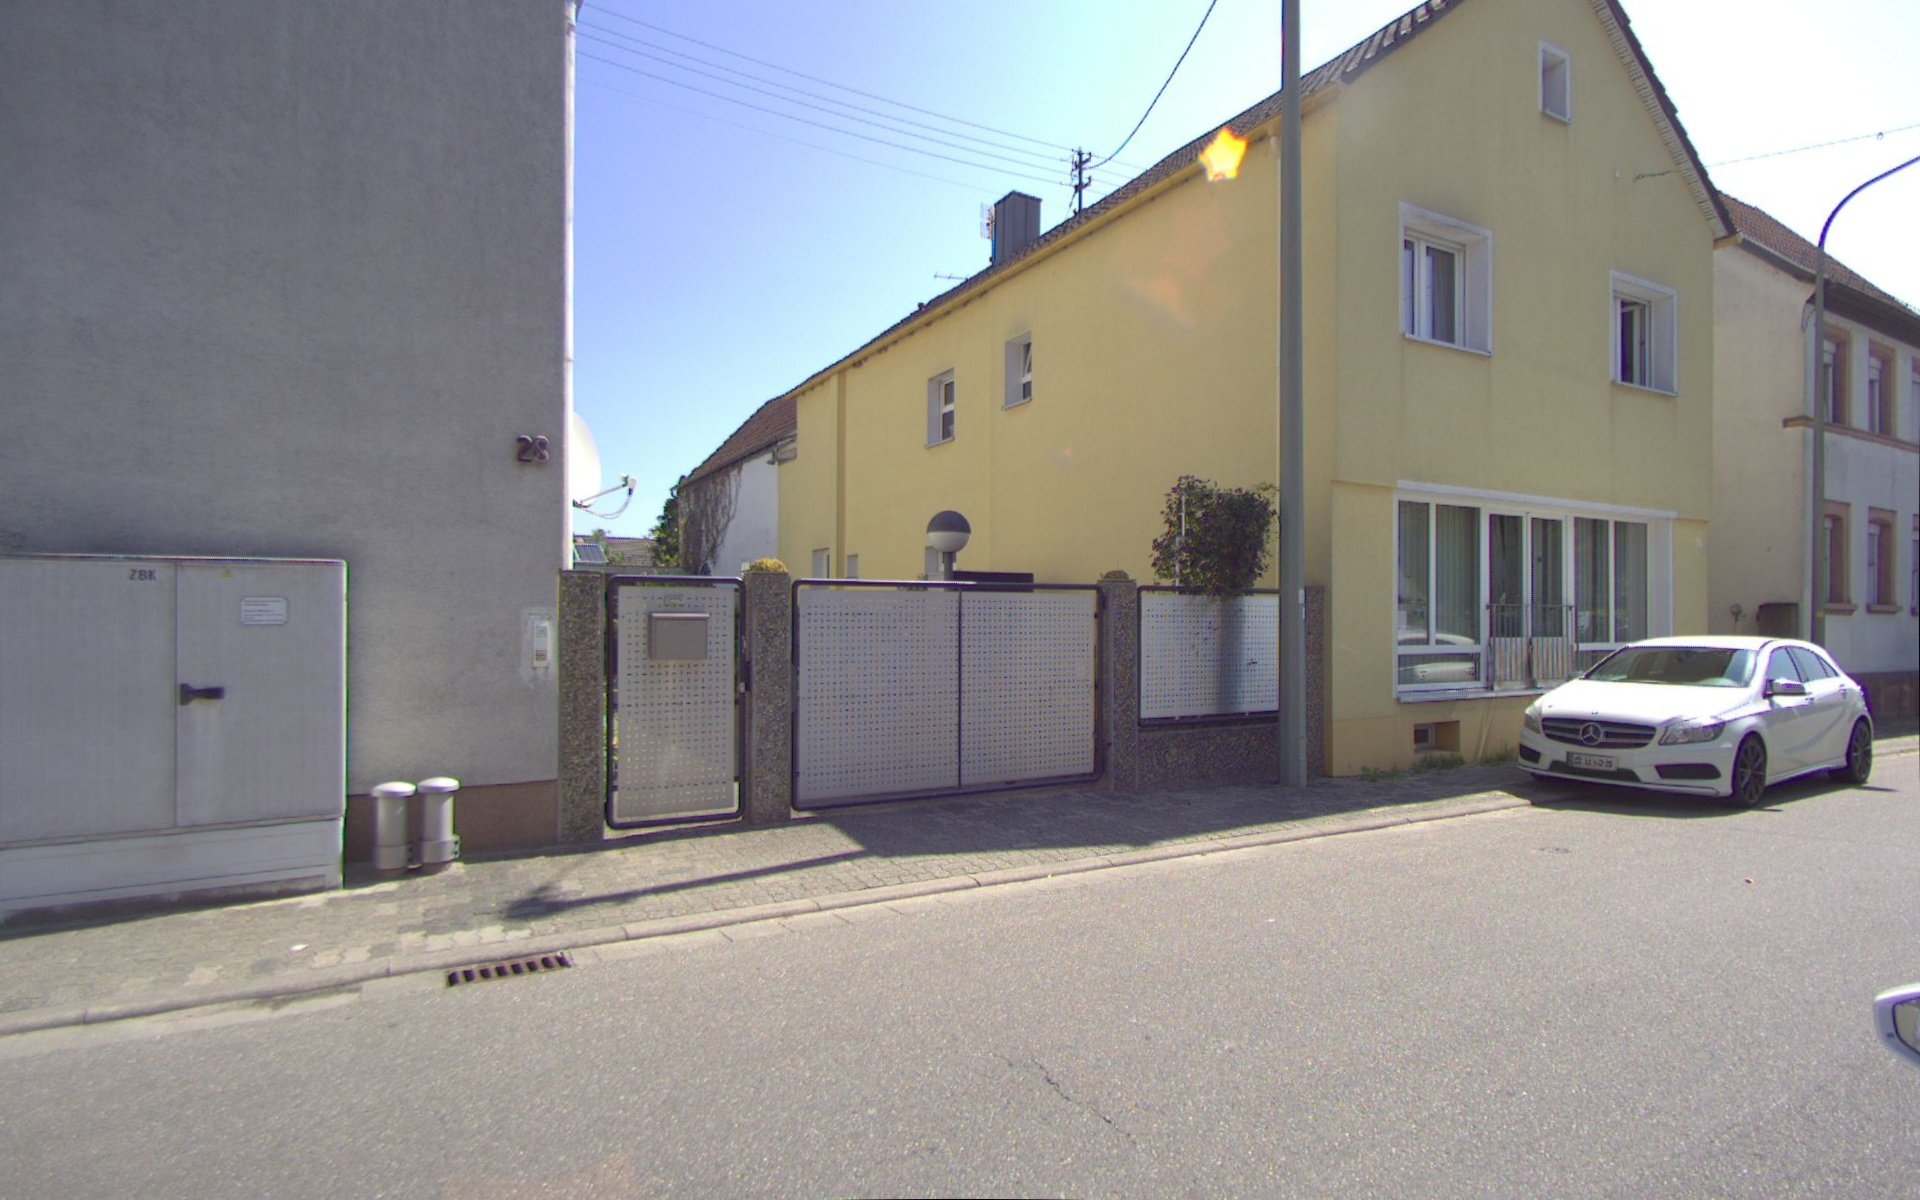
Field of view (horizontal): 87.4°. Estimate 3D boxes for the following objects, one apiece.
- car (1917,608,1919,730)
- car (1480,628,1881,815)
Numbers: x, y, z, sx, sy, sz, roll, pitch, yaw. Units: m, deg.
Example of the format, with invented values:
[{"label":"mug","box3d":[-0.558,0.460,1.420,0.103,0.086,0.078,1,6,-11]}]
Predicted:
[{"label":"car","box3d":[16.952,1.059,15.611,4.301,1.862,1.827,1,-2,-29]},{"label":"car","box3d":[7.176,1.020,9.899,4.225,1.483,1.824,1,-2,-33]}]
